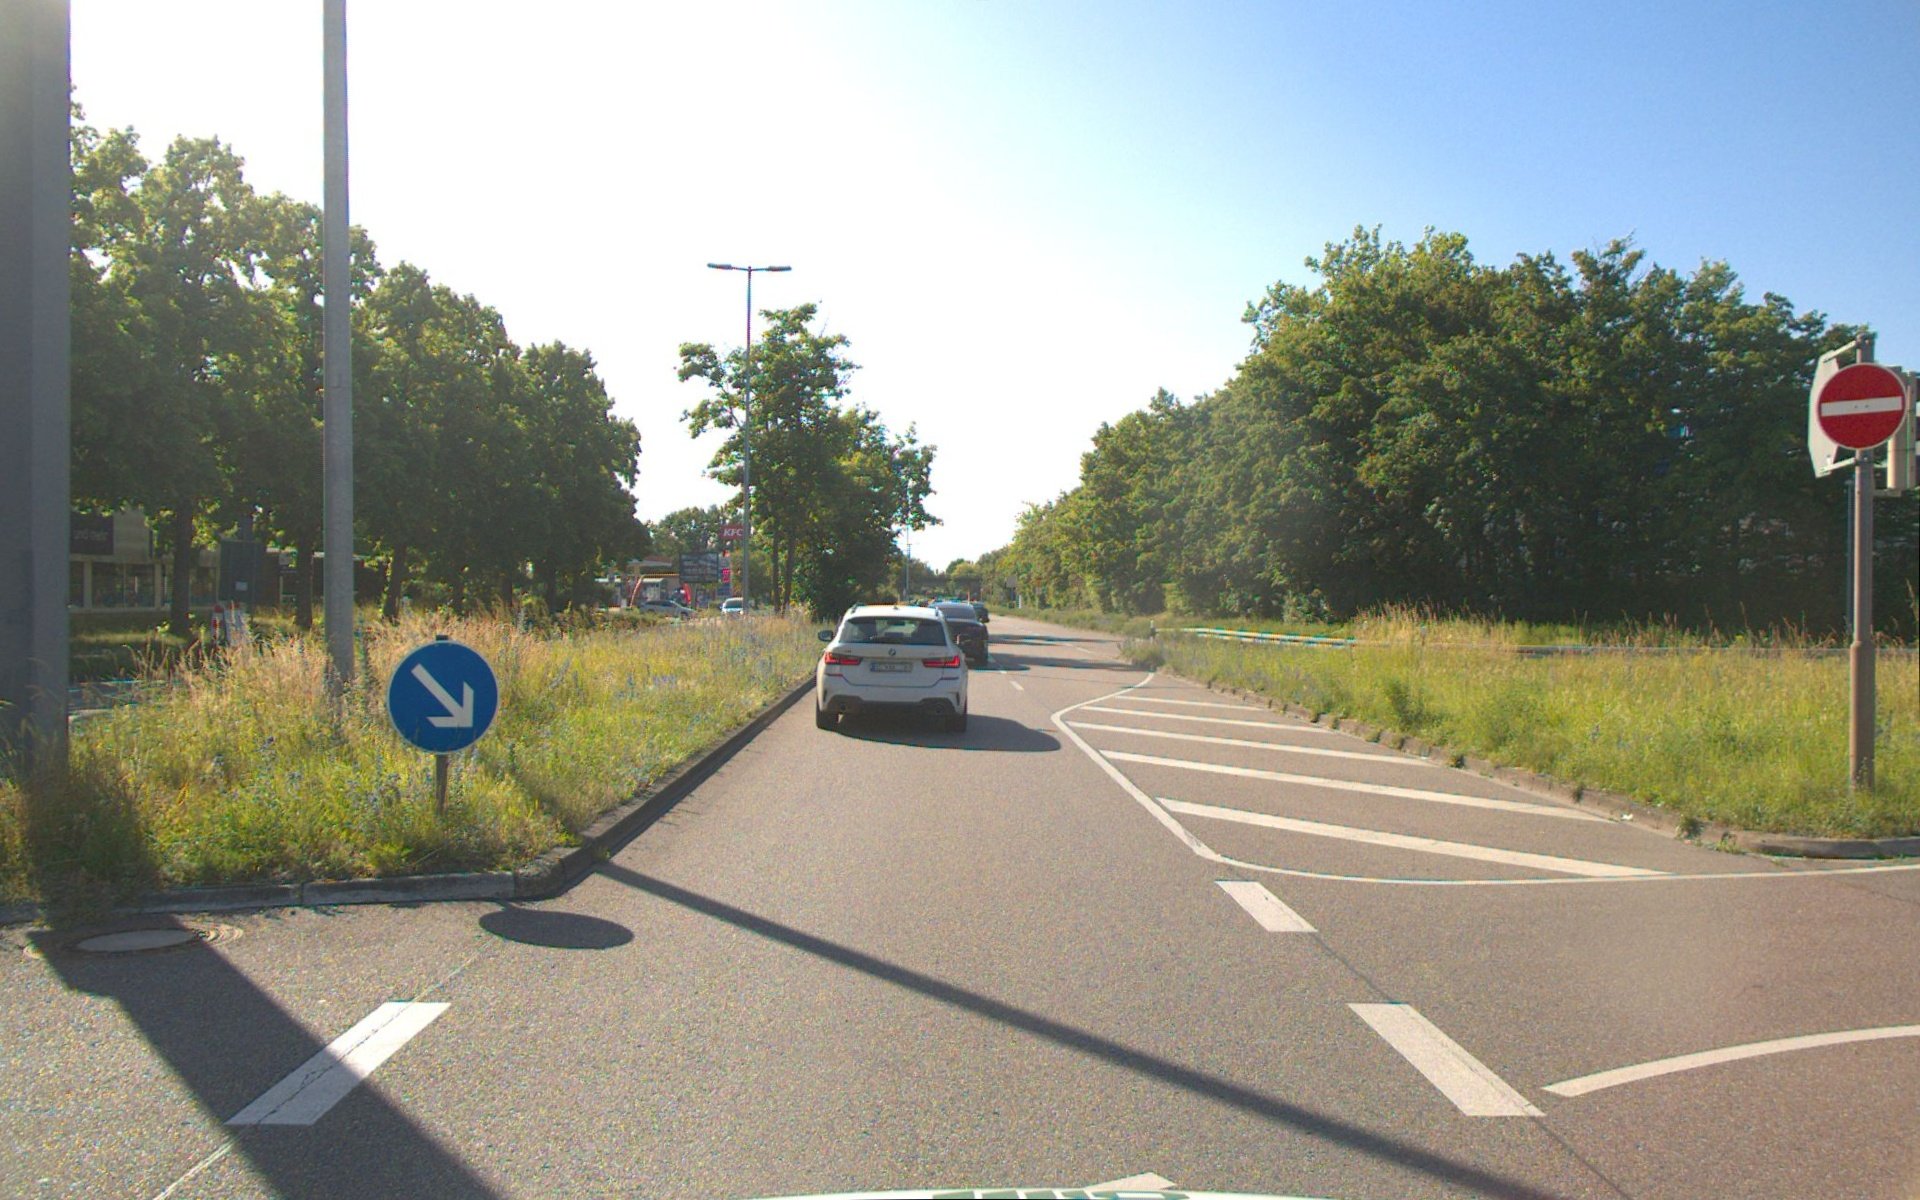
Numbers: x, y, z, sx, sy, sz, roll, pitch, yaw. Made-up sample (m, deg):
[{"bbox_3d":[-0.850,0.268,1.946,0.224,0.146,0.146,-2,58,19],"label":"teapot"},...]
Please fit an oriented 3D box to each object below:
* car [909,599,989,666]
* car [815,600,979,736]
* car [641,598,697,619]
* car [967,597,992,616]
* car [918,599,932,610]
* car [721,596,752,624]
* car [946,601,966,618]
[{"bbox_3d":[-0.311,0.743,40.108,1.824,1.480,4.546,-1,0,-2],"label":"car"},{"bbox_3d":[-0.746,0.767,20.832,1.824,1.480,4.546,1,0,-1],"label":"car"},{"bbox_3d":[-23.134,0.672,131.579,4.025,1.691,1.893,-1,0,1],"label":"car"},{"bbox_3d":[1.545,0.523,132.193,1.824,1.525,4.335,0,0,-2],"label":"car"},{"bbox_3d":[-4.764,0.604,224.214,1.824,1.592,4.546,0,0,-2],"label":"car"},{"bbox_3d":[-14.895,0.648,110.438,1.672,1.777,4.164,0,0,-3],"label":"car"},{"bbox_3d":[-0.390,0.915,162.532,1.736,1.583,3.831,0,0,-3],"label":"car"}]
